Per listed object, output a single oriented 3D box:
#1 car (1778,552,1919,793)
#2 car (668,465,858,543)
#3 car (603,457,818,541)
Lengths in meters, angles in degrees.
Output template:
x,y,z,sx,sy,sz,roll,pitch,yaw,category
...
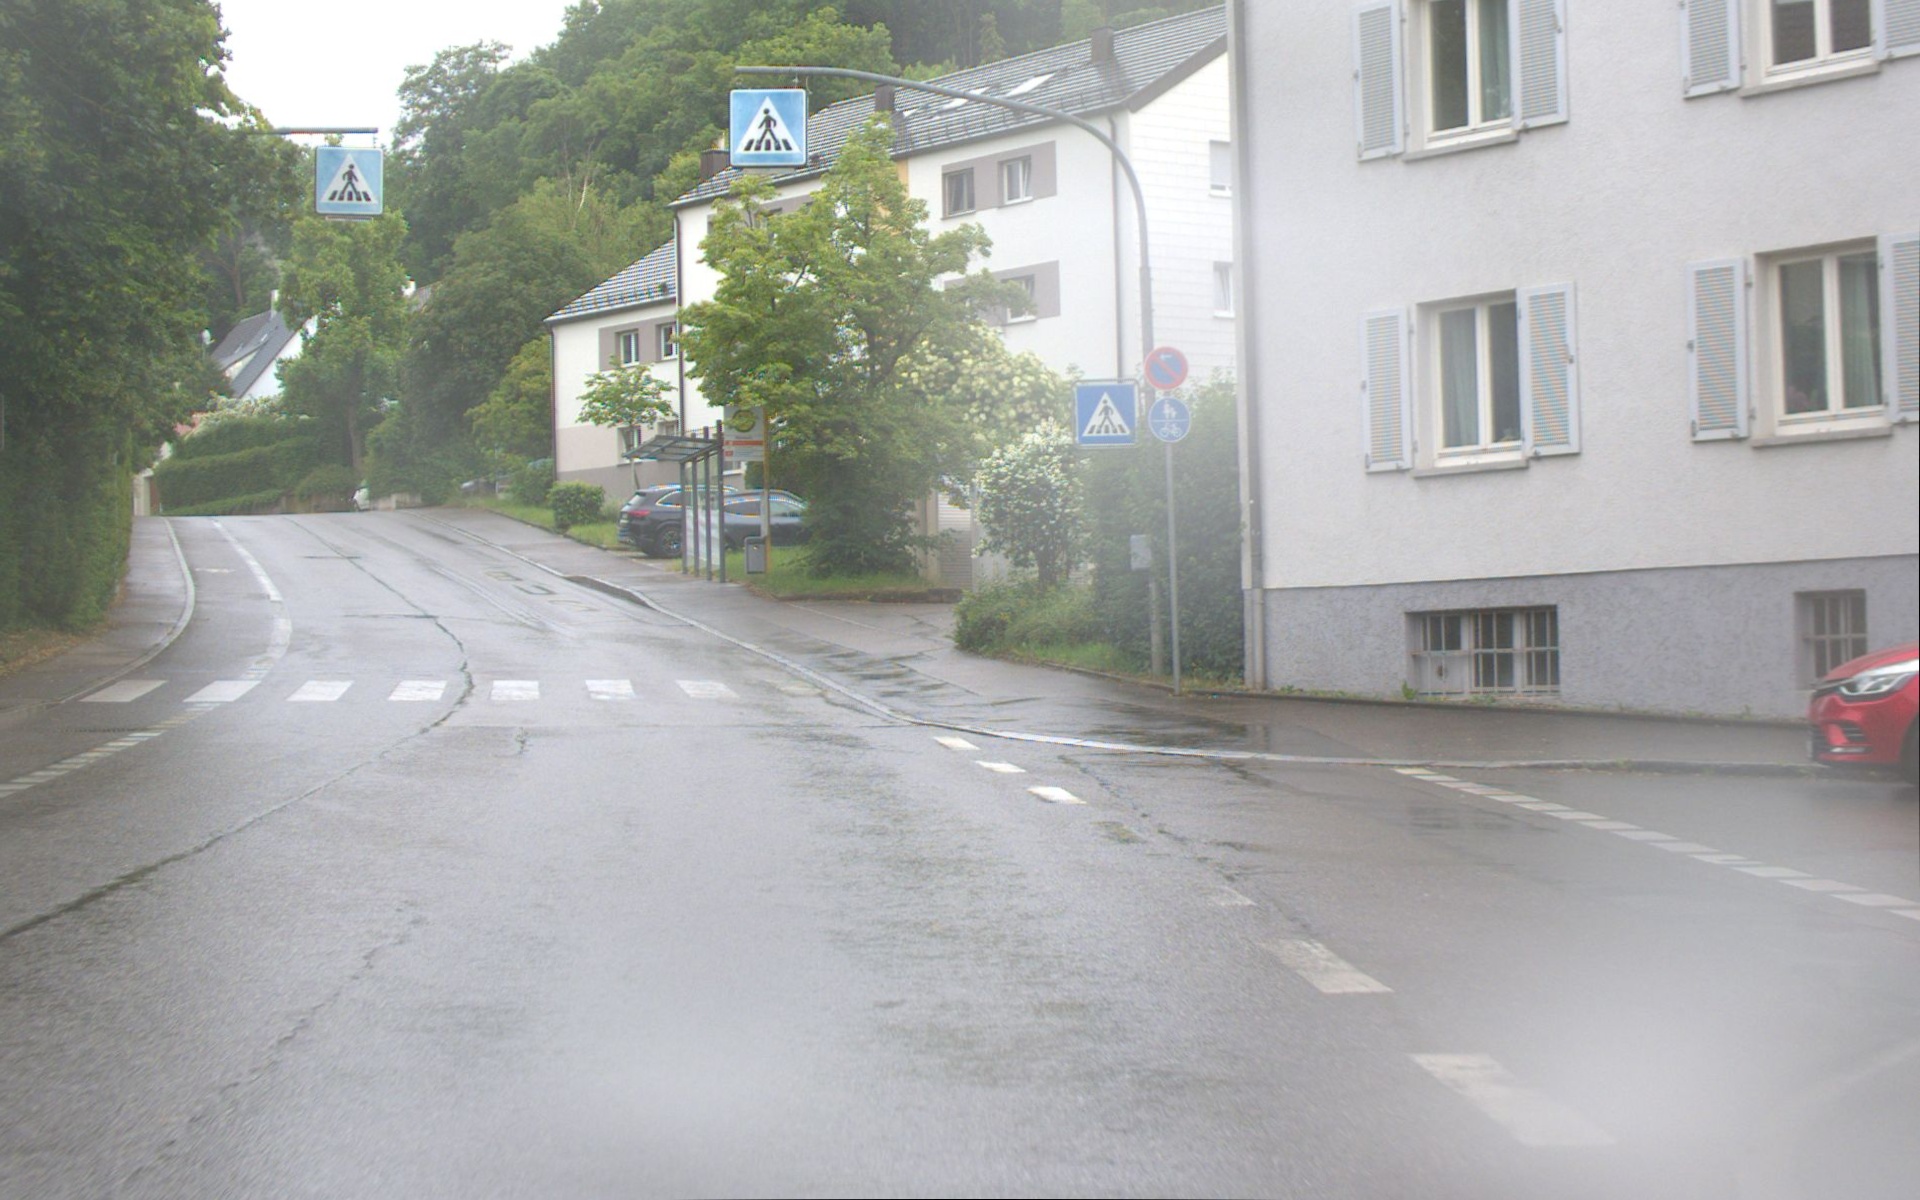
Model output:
x,y,z,sx,sy,sz,roll,pitch,yaw,category
7.193,0.440,21.115,4.082,1.403,1.724,1,2,9,car
-4.237,-2.075,73.716,3.742,1.453,1.725,-3,4,-14,car
-5.708,-2.330,78.674,4.525,1.654,1.857,-3,4,-19,car
